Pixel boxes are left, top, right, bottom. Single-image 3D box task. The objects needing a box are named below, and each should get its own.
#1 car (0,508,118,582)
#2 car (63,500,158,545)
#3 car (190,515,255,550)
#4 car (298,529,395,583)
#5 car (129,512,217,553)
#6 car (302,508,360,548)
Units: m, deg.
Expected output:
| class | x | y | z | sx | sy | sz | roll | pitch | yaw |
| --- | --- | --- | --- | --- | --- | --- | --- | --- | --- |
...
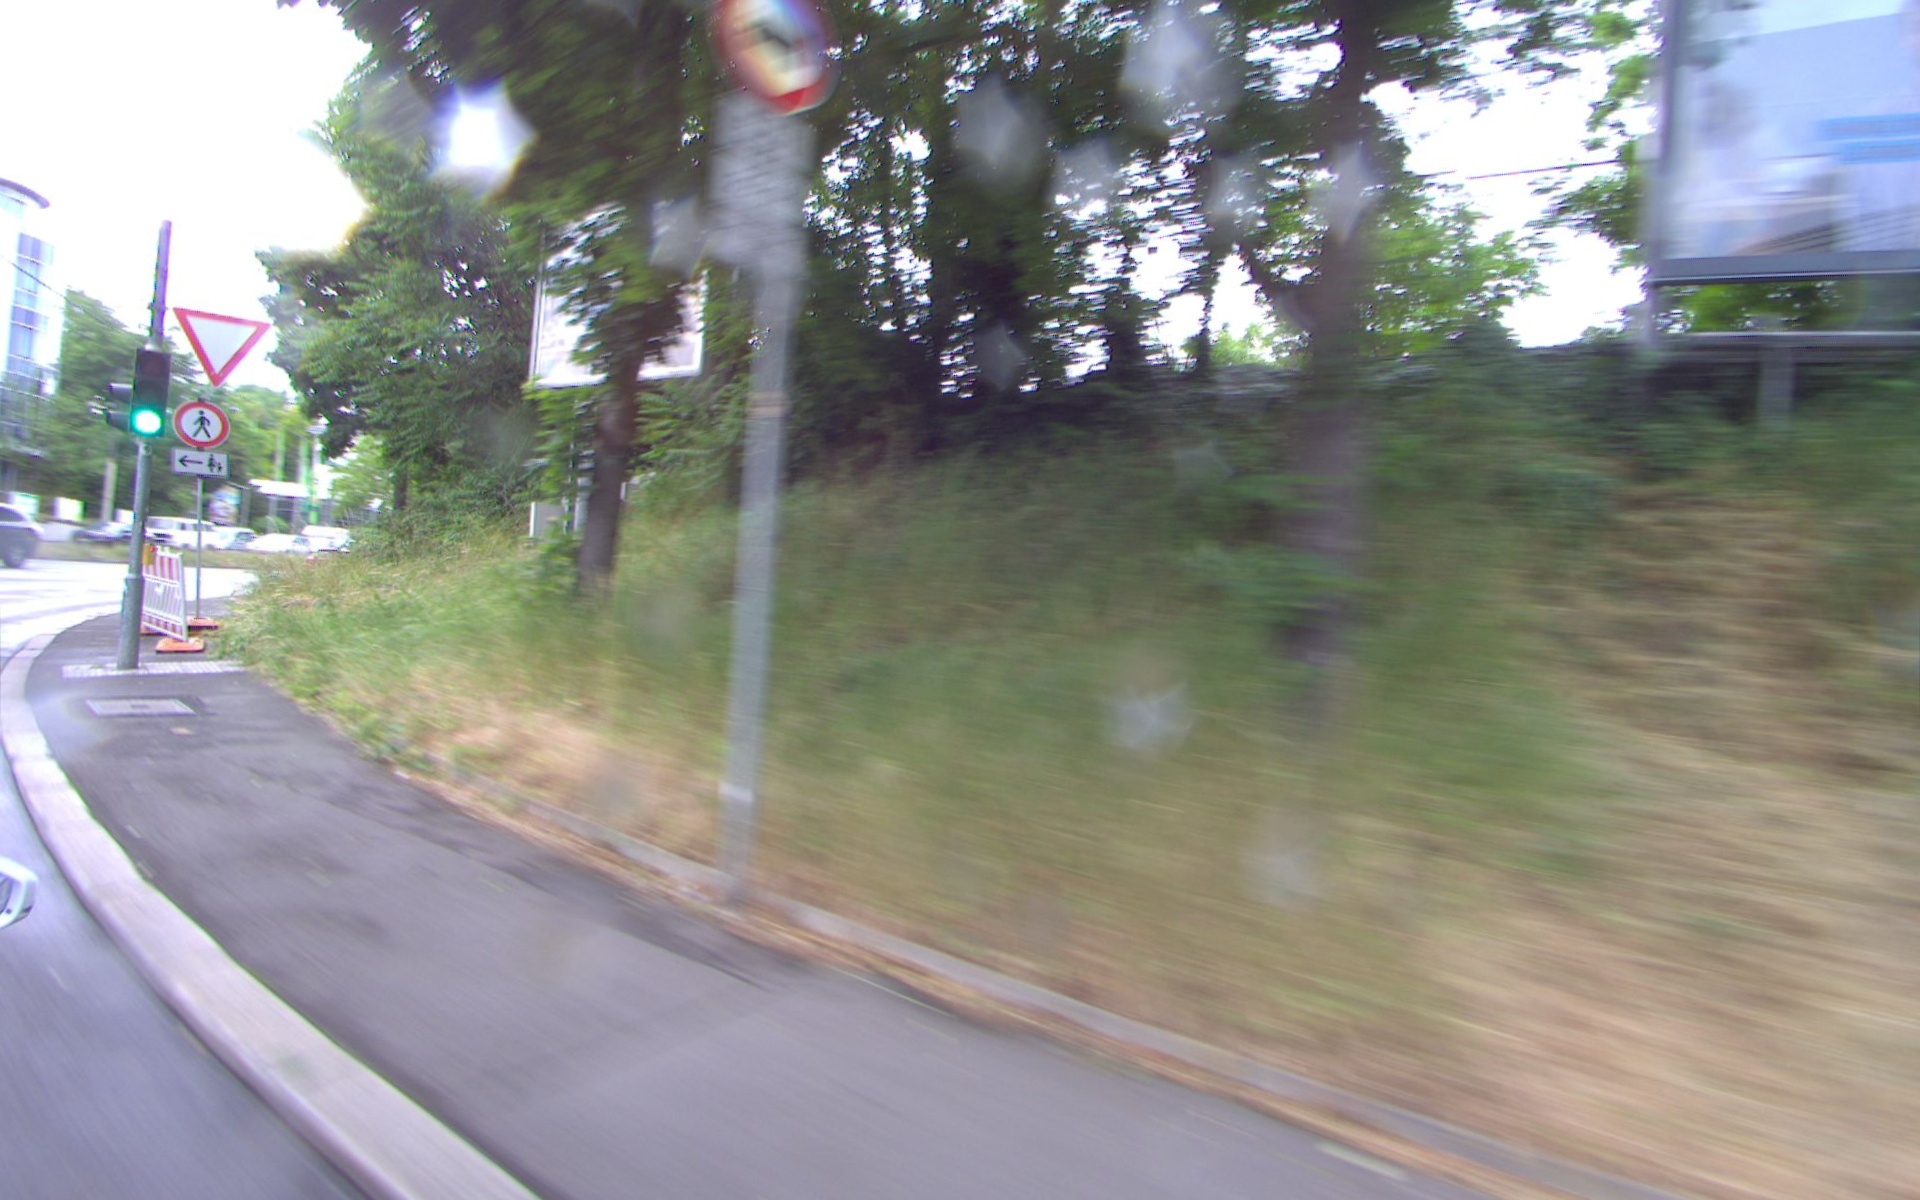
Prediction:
| class | x | y | z | sx | sy | sz | roll | pitch | yaw |
| --- | --- | --- | --- | --- | --- | --- | --- | --- | --- |
| car | -25.407 | -1.497 | 27.330 | 1.665 | 1.623 | 4.725 | 4 | -3 | -10 |
| car | -39.339 | -3.537 | 46.703 | 1.588 | 1.744 | 3.983 | 4 | 1 | -12 |
| car | -42.289 | -3.859 | 57.778 | 1.570 | 1.717 | 3.771 | 4 | 1 | -12 |
| car | -21.563 | -1.500 | 35.496 | 1.670 | 1.442 | 3.365 | 6 | -3 | -10 |
| car | -40.882 | -3.477 | 52.398 | 1.747 | 1.768 | 4.572 | 4 | 0 | -12 |
| car | -46.248 | -5.241 | 74.080 | 1.937 | 2.475 | 5.638 | 4 | 1 | -15 |
